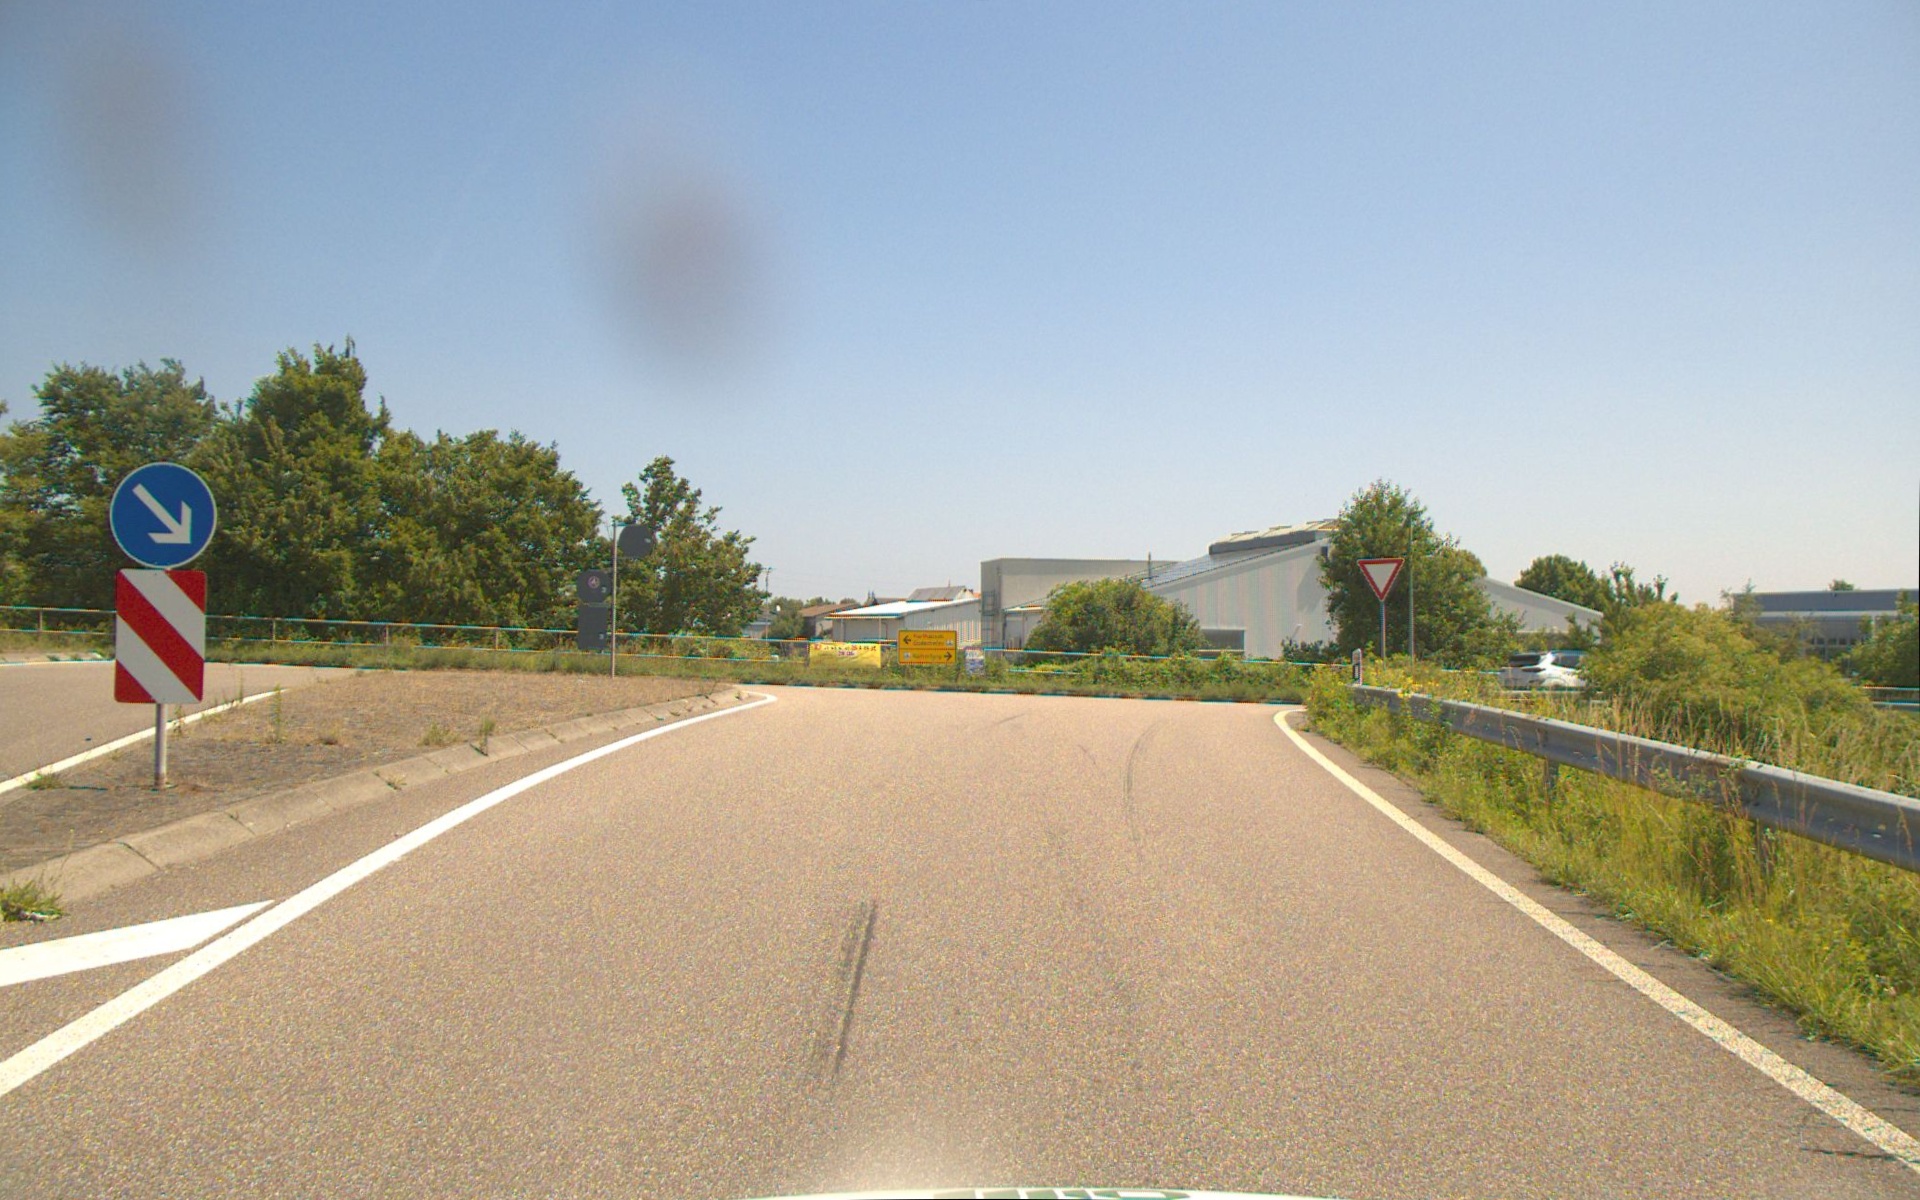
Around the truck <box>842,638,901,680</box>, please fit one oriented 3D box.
[{"bbox_3d":[-10.051,6.554,185.714,3.648,4.387,13.282,2,-2,-16],"label":"truck"}]

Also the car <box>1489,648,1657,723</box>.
[{"bbox_3d":[15.302,2.091,41.275,3.943,1.721,1.797,0,-1,-29],"label":"car"}]
